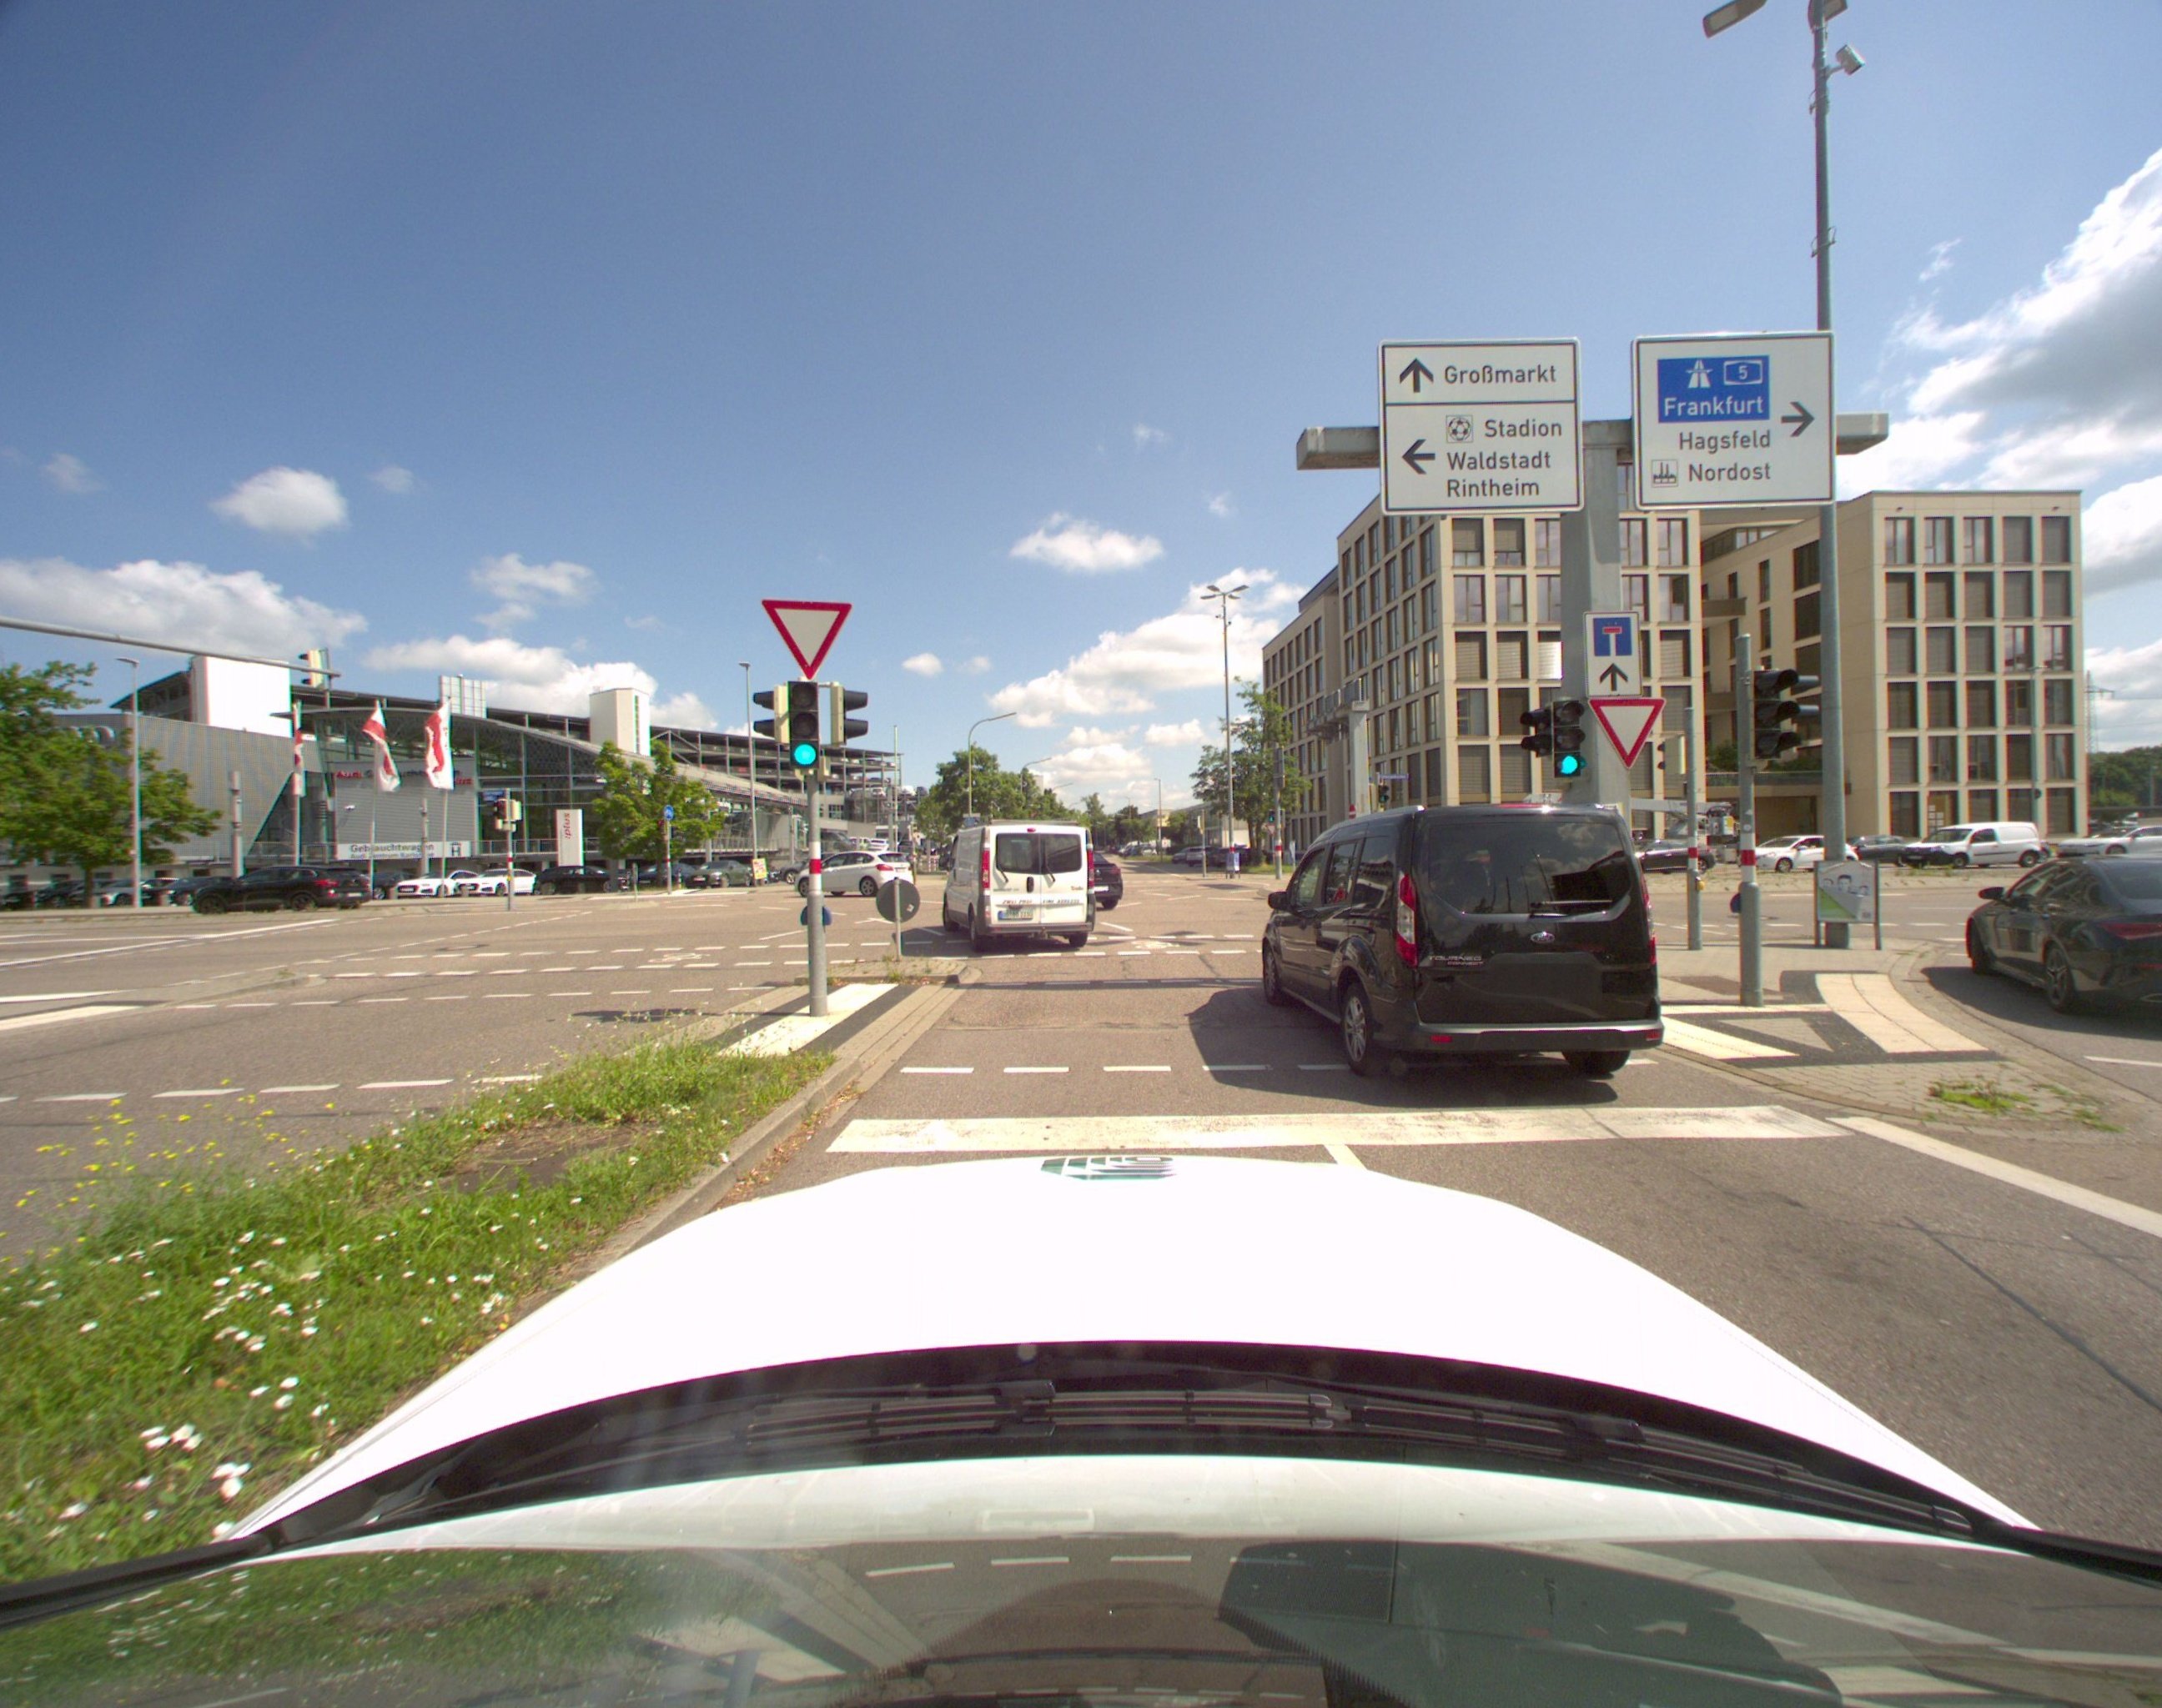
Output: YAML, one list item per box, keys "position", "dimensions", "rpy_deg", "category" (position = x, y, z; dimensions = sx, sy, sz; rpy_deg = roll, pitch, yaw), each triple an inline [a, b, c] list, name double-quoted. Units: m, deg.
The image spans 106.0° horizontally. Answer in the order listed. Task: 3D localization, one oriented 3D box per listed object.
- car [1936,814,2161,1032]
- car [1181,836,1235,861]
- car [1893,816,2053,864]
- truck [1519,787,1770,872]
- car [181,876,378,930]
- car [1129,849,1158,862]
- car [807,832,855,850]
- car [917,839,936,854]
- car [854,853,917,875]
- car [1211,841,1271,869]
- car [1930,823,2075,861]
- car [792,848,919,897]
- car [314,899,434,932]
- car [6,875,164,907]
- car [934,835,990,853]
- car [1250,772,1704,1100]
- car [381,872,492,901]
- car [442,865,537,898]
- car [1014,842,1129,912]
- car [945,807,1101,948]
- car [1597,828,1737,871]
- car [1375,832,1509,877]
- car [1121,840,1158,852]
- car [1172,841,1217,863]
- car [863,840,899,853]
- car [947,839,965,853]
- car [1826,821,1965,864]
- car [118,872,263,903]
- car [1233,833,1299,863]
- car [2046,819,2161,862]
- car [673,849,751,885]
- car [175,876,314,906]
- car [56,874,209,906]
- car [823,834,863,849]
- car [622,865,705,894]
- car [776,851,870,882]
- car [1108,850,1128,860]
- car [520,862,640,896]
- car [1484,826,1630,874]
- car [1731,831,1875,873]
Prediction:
- position: [9.850, 0.484, 7.594]
  dimensions: [1.841, 1.655, 4.246]
  rpy_deg: [-2, 0, 36]
  category: "car"
- position: [10.307, -0.409, 66.278]
  dimensions: [3.983, 2.014, 1.995]
  rpy_deg: [0, -1, -7]
  category: "car"
- position: [35.507, -0.529, 32.488]
  dimensions: [4.417, 1.838, 1.827]
  rpy_deg: [0, -1, -1]
  category: "car"
- position: [24.730, -1.021, 35.927]
  dimensions: [9.738, 3.555, 2.669]
  rpy_deg: [0, -1, -6]
  category: "truck"
- position: [-25.521, 1.531, 26.063]
  dimensions: [4.249, 1.618, 1.773]
  rpy_deg: [0, -1, -7]
  category: "car"
- position: [8.965, 0.223, 117.751]
  dimensions: [3.978, 1.750, 1.998]
  rpy_deg: [0, -1, -3]
  category: "car"
- position: [-25.770, -1.324, 83.976]
  dimensions: [4.433, 1.801, 1.762]
  rpy_deg: [0, -1, -5]
  category: "car"
- position: [-16.938, -0.841, 89.236]
  dimensions: [1.558, 1.552, 3.597]
  rpy_deg: [0, -1, -4]
  category: "car"
- position: [-15.377, 0.784, 64.214]
  dimensions: [4.563, 1.678, 1.906]
  rpy_deg: [0, -1, -2]
  category: "car"
- position: [11.864, 0.064, 60.601]
  dimensions: [3.983, 2.014, 1.995]
  rpy_deg: [0, -1, -7]
  category: "car"
- position: [40.764, -0.508, 36.105]
  dimensions: [4.417, 1.622, 1.827]
  rpy_deg: [0, -1, -1]
  category: "car"
- position: [-7.802, 0.622, 28.191]
  dimensions: [3.951, 1.618, 1.787]
  rpy_deg: [0, -1, 23]
  category: "car"
- position: [-33.710, 2.896, 39.051]
  dimensions: [1.897, 1.297, 4.584]
  rpy_deg: [0, -1, -3]
  category: "car"
- position: [-46.845, 1.730, 38.495]
  dimensions: [1.897, 1.405, 4.584]
  rpy_deg: [0, -2, -3]
  category: "car"
- position: [-14.029, -1.191, 96.163]
  dimensions: [6.374, 2.102, 1.762]
  rpy_deg: [0, -1, -4]
  category: "car"
- position: [2.746, 0.479, 6.792]
  dimensions: [1.818, 1.905, 3.999]
  rpy_deg: [-1, 0, 0]
  category: "car"
- position: [-31.045, 1.532, 39.424]
  dimensions: [1.897, 1.297, 4.584]
  rpy_deg: [0, -1, -3]
  category: "car"
- position: [-28.374, 1.341, 39.240]
  dimensions: [1.786, 1.464, 3.994]
  rpy_deg: [-2, -3, -3]
  category: "car"
- position: [-0.358, 0.537, 21.175]
  dimensions: [1.780, 1.629, 3.973]
  rpy_deg: [-1, 0, -20]
  category: "car"
- position: [-1.212, 0.339, 14.374]
  dimensions: [1.976, 2.060, 4.542]
  rpy_deg: [-1, 0, -14]
  category: "car"
- position: [22.931, -0.163, 31.973]
  dimensions: [4.184, 1.627, 1.828]
  rpy_deg: [0, -1, 0]
  category: "car"
- position: [15.523, 0.033, 35.171]
  dimensions: [4.970, 1.838, 1.996]
  rpy_deg: [0, -1, -6]
  category: "car"
- position: [10.264, -1.333, 142.436]
  dimensions: [6.322, 2.014, 2.572]
  rpy_deg: [0, -1, -1]
  category: "car"
- position: [10.867, -0.171, 78.103]
  dimensions: [3.983, 2.014, 1.995]
  rpy_deg: [0, -1, -7]
  category: "car"
- position: [-23.635, -0.893, 96.441]
  dimensions: [3.988, 1.552, 1.758]
  rpy_deg: [0, -1, -11]
  category: "car"
- position: [-13.579, -0.860, 88.748]
  dimensions: [1.558, 1.552, 3.597]
  rpy_deg: [0, -1, -4]
  category: "car"
- position: [36.085, -0.494, 36.158]
  dimensions: [4.417, 1.838, 1.827]
  rpy_deg: [0, -1, -1]
  category: "car"
- position: [-41.868, 1.570, 38.486]
  dimensions: [1.897, 1.384, 4.584]
  rpy_deg: [0, -2, -3]
  category: "car"
- position: [12.570, -0.410, 55.602]
  dimensions: [3.983, 2.014, 1.995]
  rpy_deg: [0, -1, -7]
  category: "car"
- position: [46.073, -0.583, 35.804]
  dimensions: [4.684, 1.838, 1.832]
  rpy_deg: [0, -1, 7]
  category: "car"
- position: [-18.019, 0.621, 40.034]
  dimensions: [1.897, 1.678, 4.584]
  rpy_deg: [0, -1, -3]
  category: "car"
- position: [-39.354, 1.781, 38.509]
  dimensions: [1.897, 1.298, 4.583]
  rpy_deg: [0, -4, -3]
  category: "car"
- position: [-44.442, 1.736, 38.350]
  dimensions: [1.897, 1.405, 4.583]
  rpy_deg: [0, -3, -3]
  category: "car"
- position: [-26.046, -1.374, 89.100]
  dimensions: [3.988, 1.552, 1.758]
  rpy_deg: [0, -1, -11]
  category: "car"
- position: [-20.524, 1.221, 40.245]
  dimensions: [1.897, 1.297, 4.584]
  rpy_deg: [0, -1, -3]
  category: "car"
- position: [-14.191, 0.694, 44.967]
  dimensions: [4.563, 1.678, 1.906]
  rpy_deg: [0, -1, -2]
  category: "car"
- position: [7.802, 0.148, 170.959]
  dimensions: [3.983, 2.014, 1.995]
  rpy_deg: [0, -1, -7]
  category: "car"
- position: [-24.764, 1.260, 40.373]
  dimensions: [4.731, 1.464, 1.793]
  rpy_deg: [-2, -3, -4]
  category: "car"
- position: [16.705, -0.118, 28.670]
  dimensions: [4.193, 1.627, 1.824]
  rpy_deg: [0, -1, -6]
  category: "car"
- position: [28.504, -0.059, 32.240]
  dimensions: [4.187, 1.627, 1.826]
  rpy_deg: [0, -1, -2]
  category: "car"
